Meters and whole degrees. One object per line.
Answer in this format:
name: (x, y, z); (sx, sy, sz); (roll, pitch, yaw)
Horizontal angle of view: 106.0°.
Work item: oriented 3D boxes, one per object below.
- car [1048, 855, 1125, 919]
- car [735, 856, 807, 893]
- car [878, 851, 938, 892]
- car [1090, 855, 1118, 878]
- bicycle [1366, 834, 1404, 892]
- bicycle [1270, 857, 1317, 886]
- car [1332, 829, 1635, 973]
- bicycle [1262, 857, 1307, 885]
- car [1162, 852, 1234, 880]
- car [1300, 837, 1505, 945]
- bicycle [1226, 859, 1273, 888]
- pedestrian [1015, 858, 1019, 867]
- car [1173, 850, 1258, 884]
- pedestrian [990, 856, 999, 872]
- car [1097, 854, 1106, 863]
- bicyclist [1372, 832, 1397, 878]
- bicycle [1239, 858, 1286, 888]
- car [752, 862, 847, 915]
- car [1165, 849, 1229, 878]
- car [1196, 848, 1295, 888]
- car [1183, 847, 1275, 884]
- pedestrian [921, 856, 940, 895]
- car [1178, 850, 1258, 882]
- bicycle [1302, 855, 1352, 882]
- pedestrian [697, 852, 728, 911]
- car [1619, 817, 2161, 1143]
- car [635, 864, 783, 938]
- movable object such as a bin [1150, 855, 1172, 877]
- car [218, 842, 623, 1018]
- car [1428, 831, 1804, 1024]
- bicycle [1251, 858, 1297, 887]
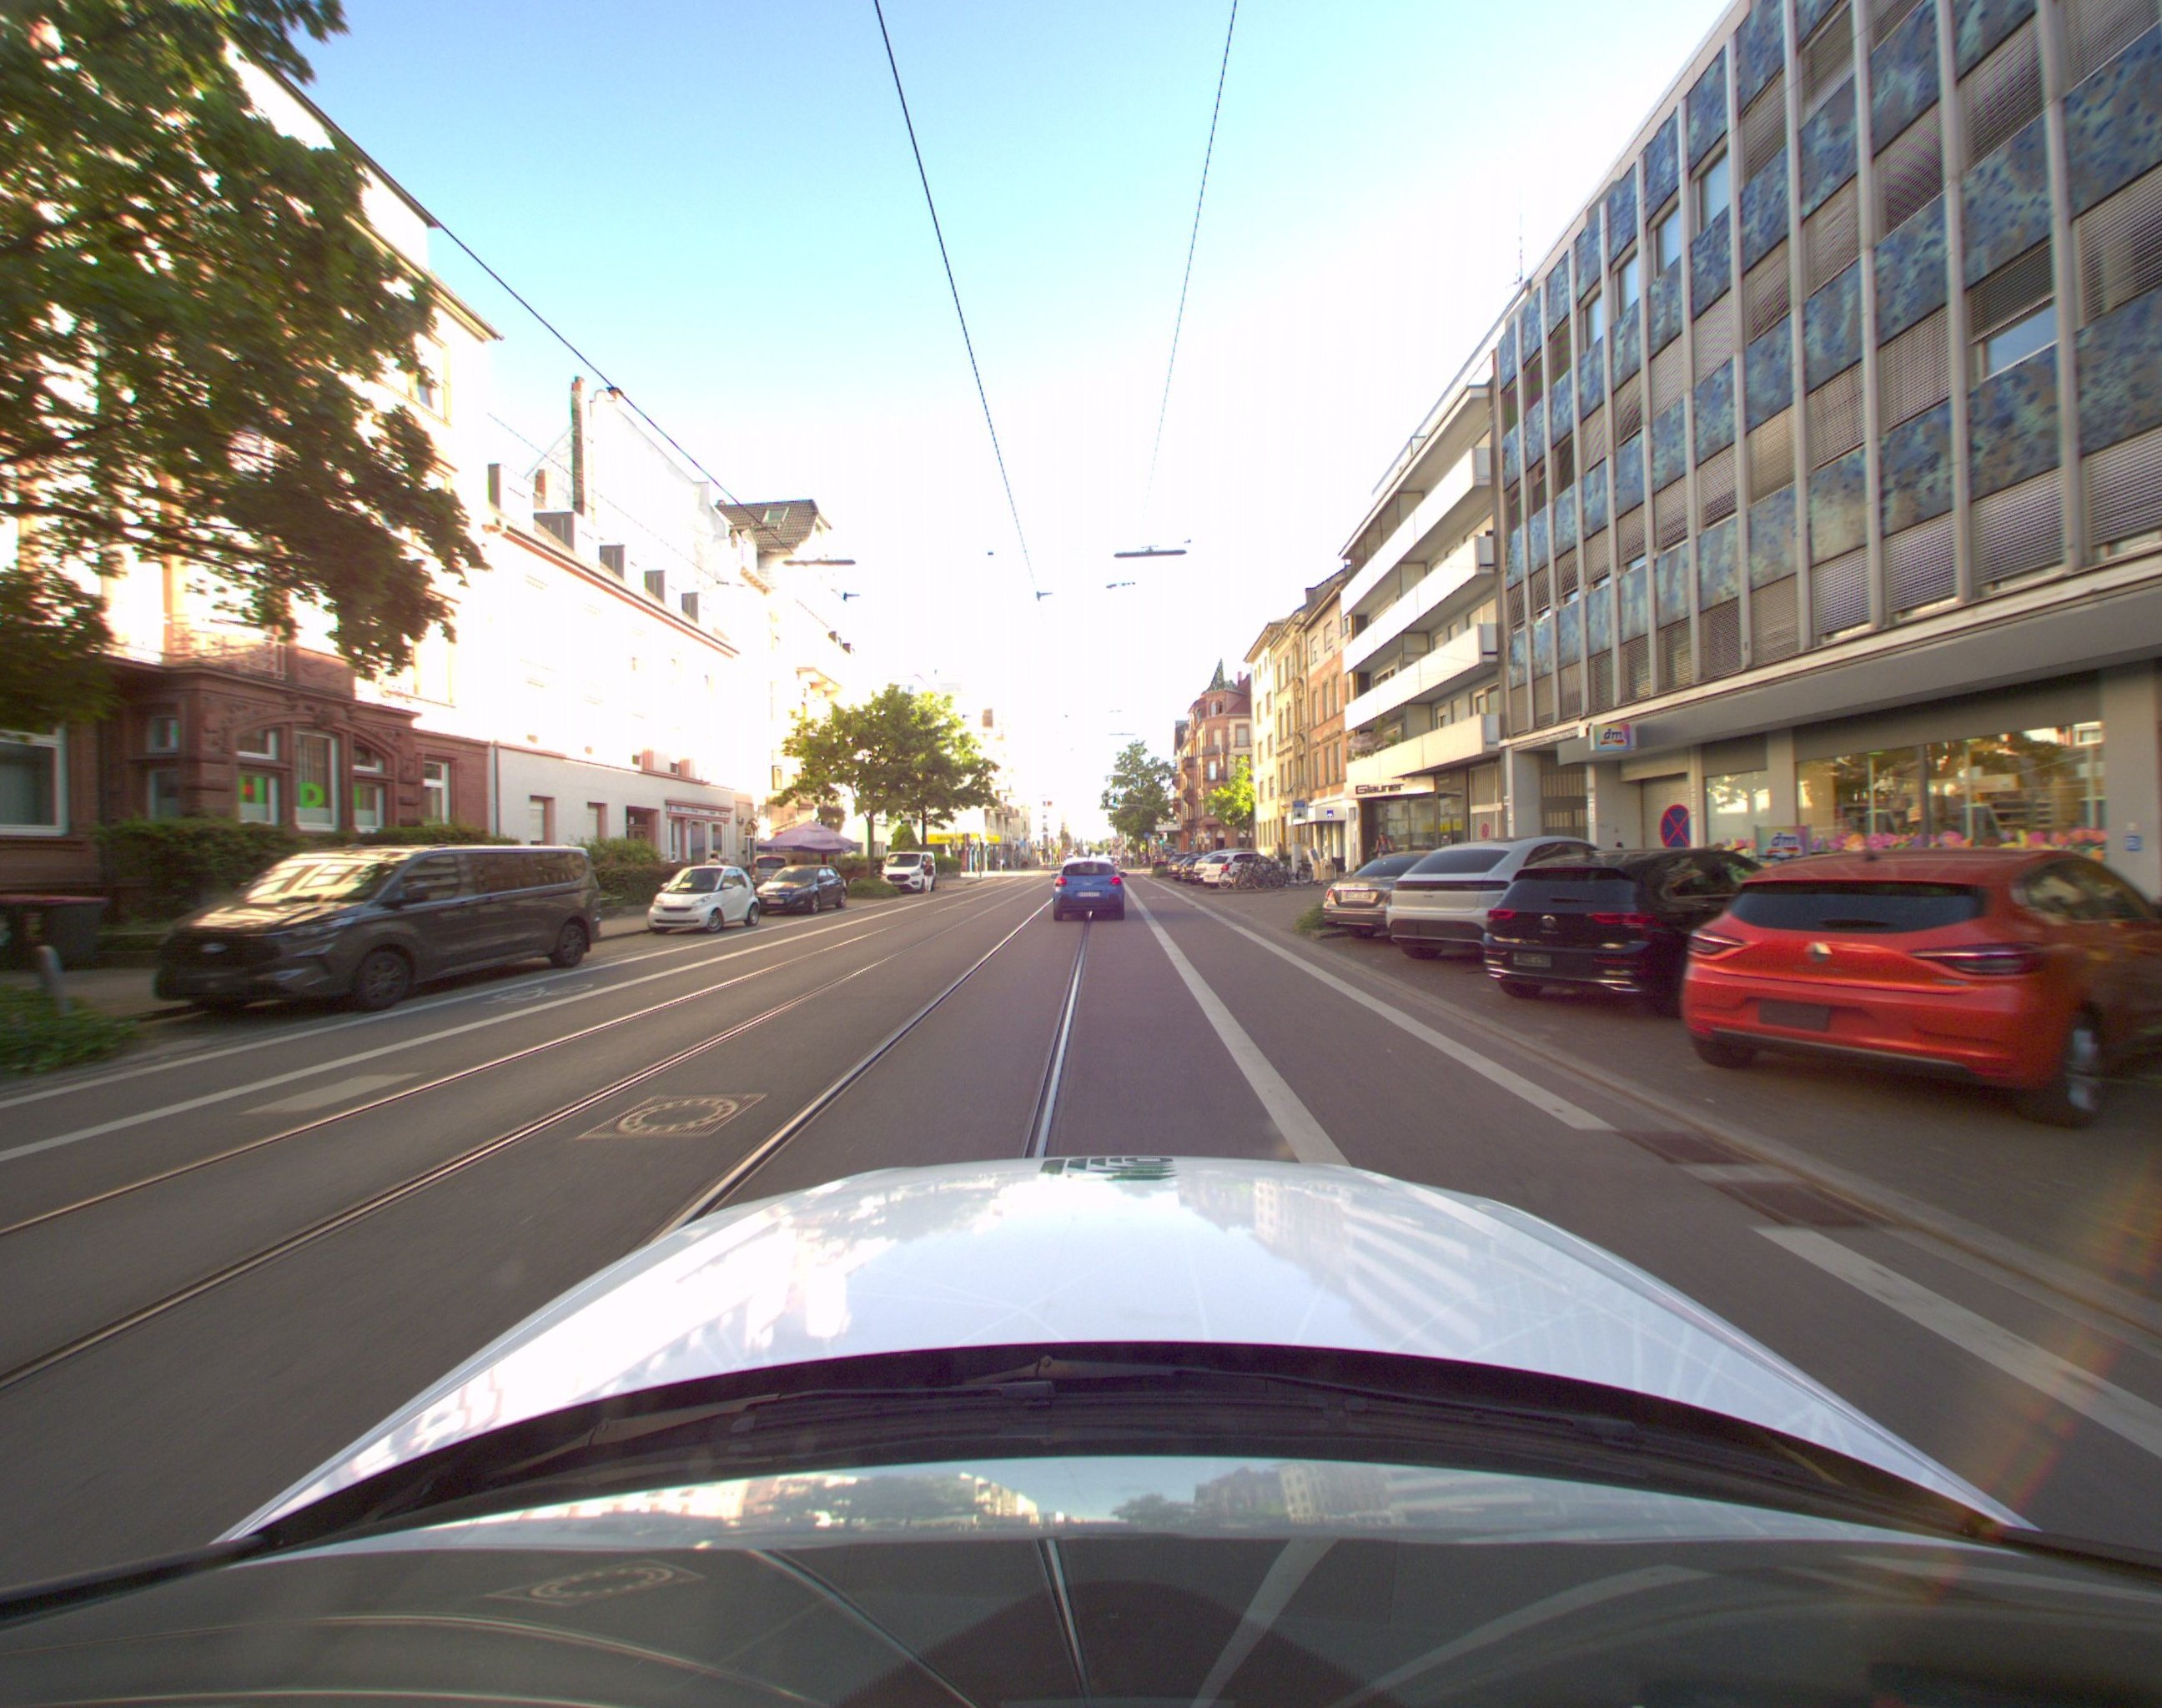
car: (0.163, 0.765, 20.539); (1.756, 1.441, 3.557); (-1, 0, 1)
car: (-13.257, 0.835, 34.998); (1.628, 1.469, 3.528); (-1, 0, 2)
car: (-8.287, 0.804, 39.333); (1.825, 1.848, 4.215); (-1, 0, 2)
car: (1.638, 0.872, 57.934); (1.866, 1.596, 4.002); (-1, 0, 2)
bicycle: (10.927, 0.322, 29.357); (0.724, 2.014, 2.363); (-1, -1, 7)
bicycle: (8.128, 0.665, 31.177); (0.557, 1.047, 1.787); (0, -1, -37)
car: (5.527, 0.530, 11.145); (3.743, 1.652, 2.027); (-1, -1, -32)
bicycle: (7.669, 0.638, 30.763); (0.471, 1.047, 1.788); (0, -1, -34)
car: (6.679, 0.663, 46.455); (3.664, 1.534, 1.778); (-1, -1, -18)
car: (5.591, 0.553, 14.061); (3.467, 1.640, 1.666); (-1, -1, -35)
bicycle: (6.149, 0.706, 29.728); (0.557, 1.047, 1.789); (-1, -1, -34)
pedestrian: (-8.773, 1.162, 112.181); (0.384, 1.216, 0.433); (-2, 0, -36)
car: (6.549, 0.604, 39.862); (3.664, 1.574, 1.849); (-1, -1, -18)
pedestrian: (-9.714, 1.130, 91.461); (0.942, 1.751, 0.699); (-1, -1, -3)
car: (3.439, 0.788, 135.635); (1.417, 1.432, 3.140); (-1, 0, 2)
bicyclist: (10.928, 0.033, 29.340); (0.728, 1.623, 0.529); (-1, -1, 7)
bicycle: (6.686, 0.699, 30.075); (0.557, 1.047, 1.789); (-1, -1, -34)
car: (-8.725, 1.029, 25.578); (1.743, 1.487, 4.037); (-1, 0, -3)
car: (7.385, 0.595, 51.964); (3.664, 1.715, 1.778); (-1, -1, -18)
car: (6.816, 0.561, 33.724); (3.674, 1.574, 1.844); (-1, -1, -27)
car: (6.666, 0.488, 36.839); (3.664, 1.574, 1.849); (-1, -1, -18)
pedestrian: (-6.782, 0.956, 36.743); (0.732, 1.726, 0.623); (-1, -1, -23)
car: (7.160, 0.611, 42.684); (3.664, 1.574, 1.849); (-1, -1, -18)
bicycle: (9.642, 0.573, 31.986); (1.785, 1.047, 0.558); (-1, -1, 42)
pedestrian: (-11.509, 0.853, 25.428); (0.622, 1.824, 0.660); (-1, -1, 1)
car: (5.725, 0.580, 5.619); (3.743, 1.521, 1.949); (-1, -1, -32)
car: (-9.139, 1.080, 20.454); (1.742, 1.618, 4.408); (-1, 0, -1)
movable object such as a bin: (5.447, 0.815, 55.761); (1.389, 1.483, 1.656); (-1, -1, 1)
car: (-9.023, 0.882, 11.931); (1.742, 1.973, 5.237); (-1, 0, -1)
car: (5.419, 0.583, 8.215); (3.463, 1.555, 1.806); (-1, -1, -30)
bicycle: (7.198, 0.682, 30.445); (0.557, 1.047, 1.789); (-1, -1, -34)
